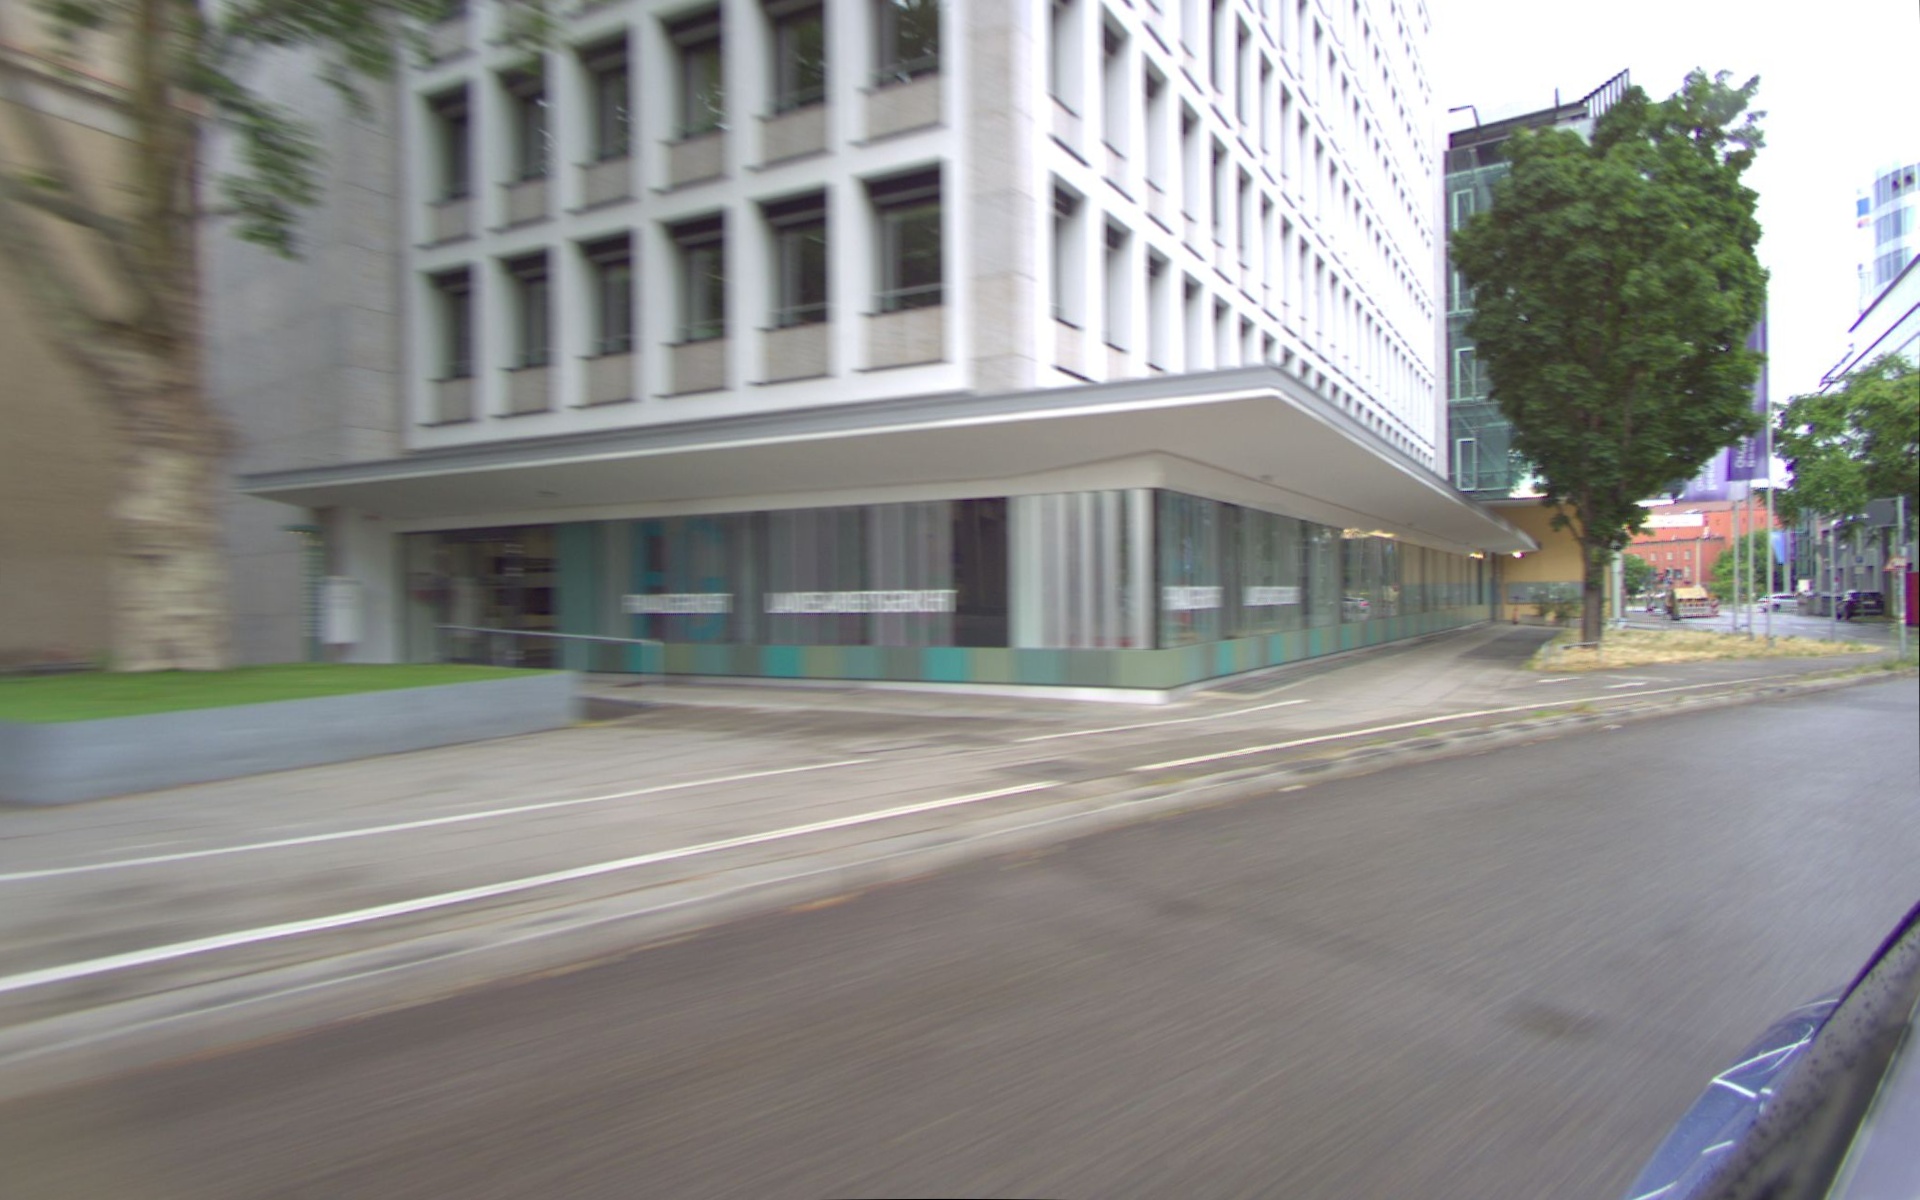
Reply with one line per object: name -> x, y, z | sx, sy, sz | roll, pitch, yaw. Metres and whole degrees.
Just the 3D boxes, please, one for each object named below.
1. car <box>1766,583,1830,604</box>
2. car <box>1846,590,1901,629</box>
car -> 71.350, -0.559, 86.230 | 3.724, 1.671, 1.788 | 2, 1, 20
car -> 51.978, 0.514, 57.660 | 1.989, 2.106, 3.944 | -2, -1, 39
